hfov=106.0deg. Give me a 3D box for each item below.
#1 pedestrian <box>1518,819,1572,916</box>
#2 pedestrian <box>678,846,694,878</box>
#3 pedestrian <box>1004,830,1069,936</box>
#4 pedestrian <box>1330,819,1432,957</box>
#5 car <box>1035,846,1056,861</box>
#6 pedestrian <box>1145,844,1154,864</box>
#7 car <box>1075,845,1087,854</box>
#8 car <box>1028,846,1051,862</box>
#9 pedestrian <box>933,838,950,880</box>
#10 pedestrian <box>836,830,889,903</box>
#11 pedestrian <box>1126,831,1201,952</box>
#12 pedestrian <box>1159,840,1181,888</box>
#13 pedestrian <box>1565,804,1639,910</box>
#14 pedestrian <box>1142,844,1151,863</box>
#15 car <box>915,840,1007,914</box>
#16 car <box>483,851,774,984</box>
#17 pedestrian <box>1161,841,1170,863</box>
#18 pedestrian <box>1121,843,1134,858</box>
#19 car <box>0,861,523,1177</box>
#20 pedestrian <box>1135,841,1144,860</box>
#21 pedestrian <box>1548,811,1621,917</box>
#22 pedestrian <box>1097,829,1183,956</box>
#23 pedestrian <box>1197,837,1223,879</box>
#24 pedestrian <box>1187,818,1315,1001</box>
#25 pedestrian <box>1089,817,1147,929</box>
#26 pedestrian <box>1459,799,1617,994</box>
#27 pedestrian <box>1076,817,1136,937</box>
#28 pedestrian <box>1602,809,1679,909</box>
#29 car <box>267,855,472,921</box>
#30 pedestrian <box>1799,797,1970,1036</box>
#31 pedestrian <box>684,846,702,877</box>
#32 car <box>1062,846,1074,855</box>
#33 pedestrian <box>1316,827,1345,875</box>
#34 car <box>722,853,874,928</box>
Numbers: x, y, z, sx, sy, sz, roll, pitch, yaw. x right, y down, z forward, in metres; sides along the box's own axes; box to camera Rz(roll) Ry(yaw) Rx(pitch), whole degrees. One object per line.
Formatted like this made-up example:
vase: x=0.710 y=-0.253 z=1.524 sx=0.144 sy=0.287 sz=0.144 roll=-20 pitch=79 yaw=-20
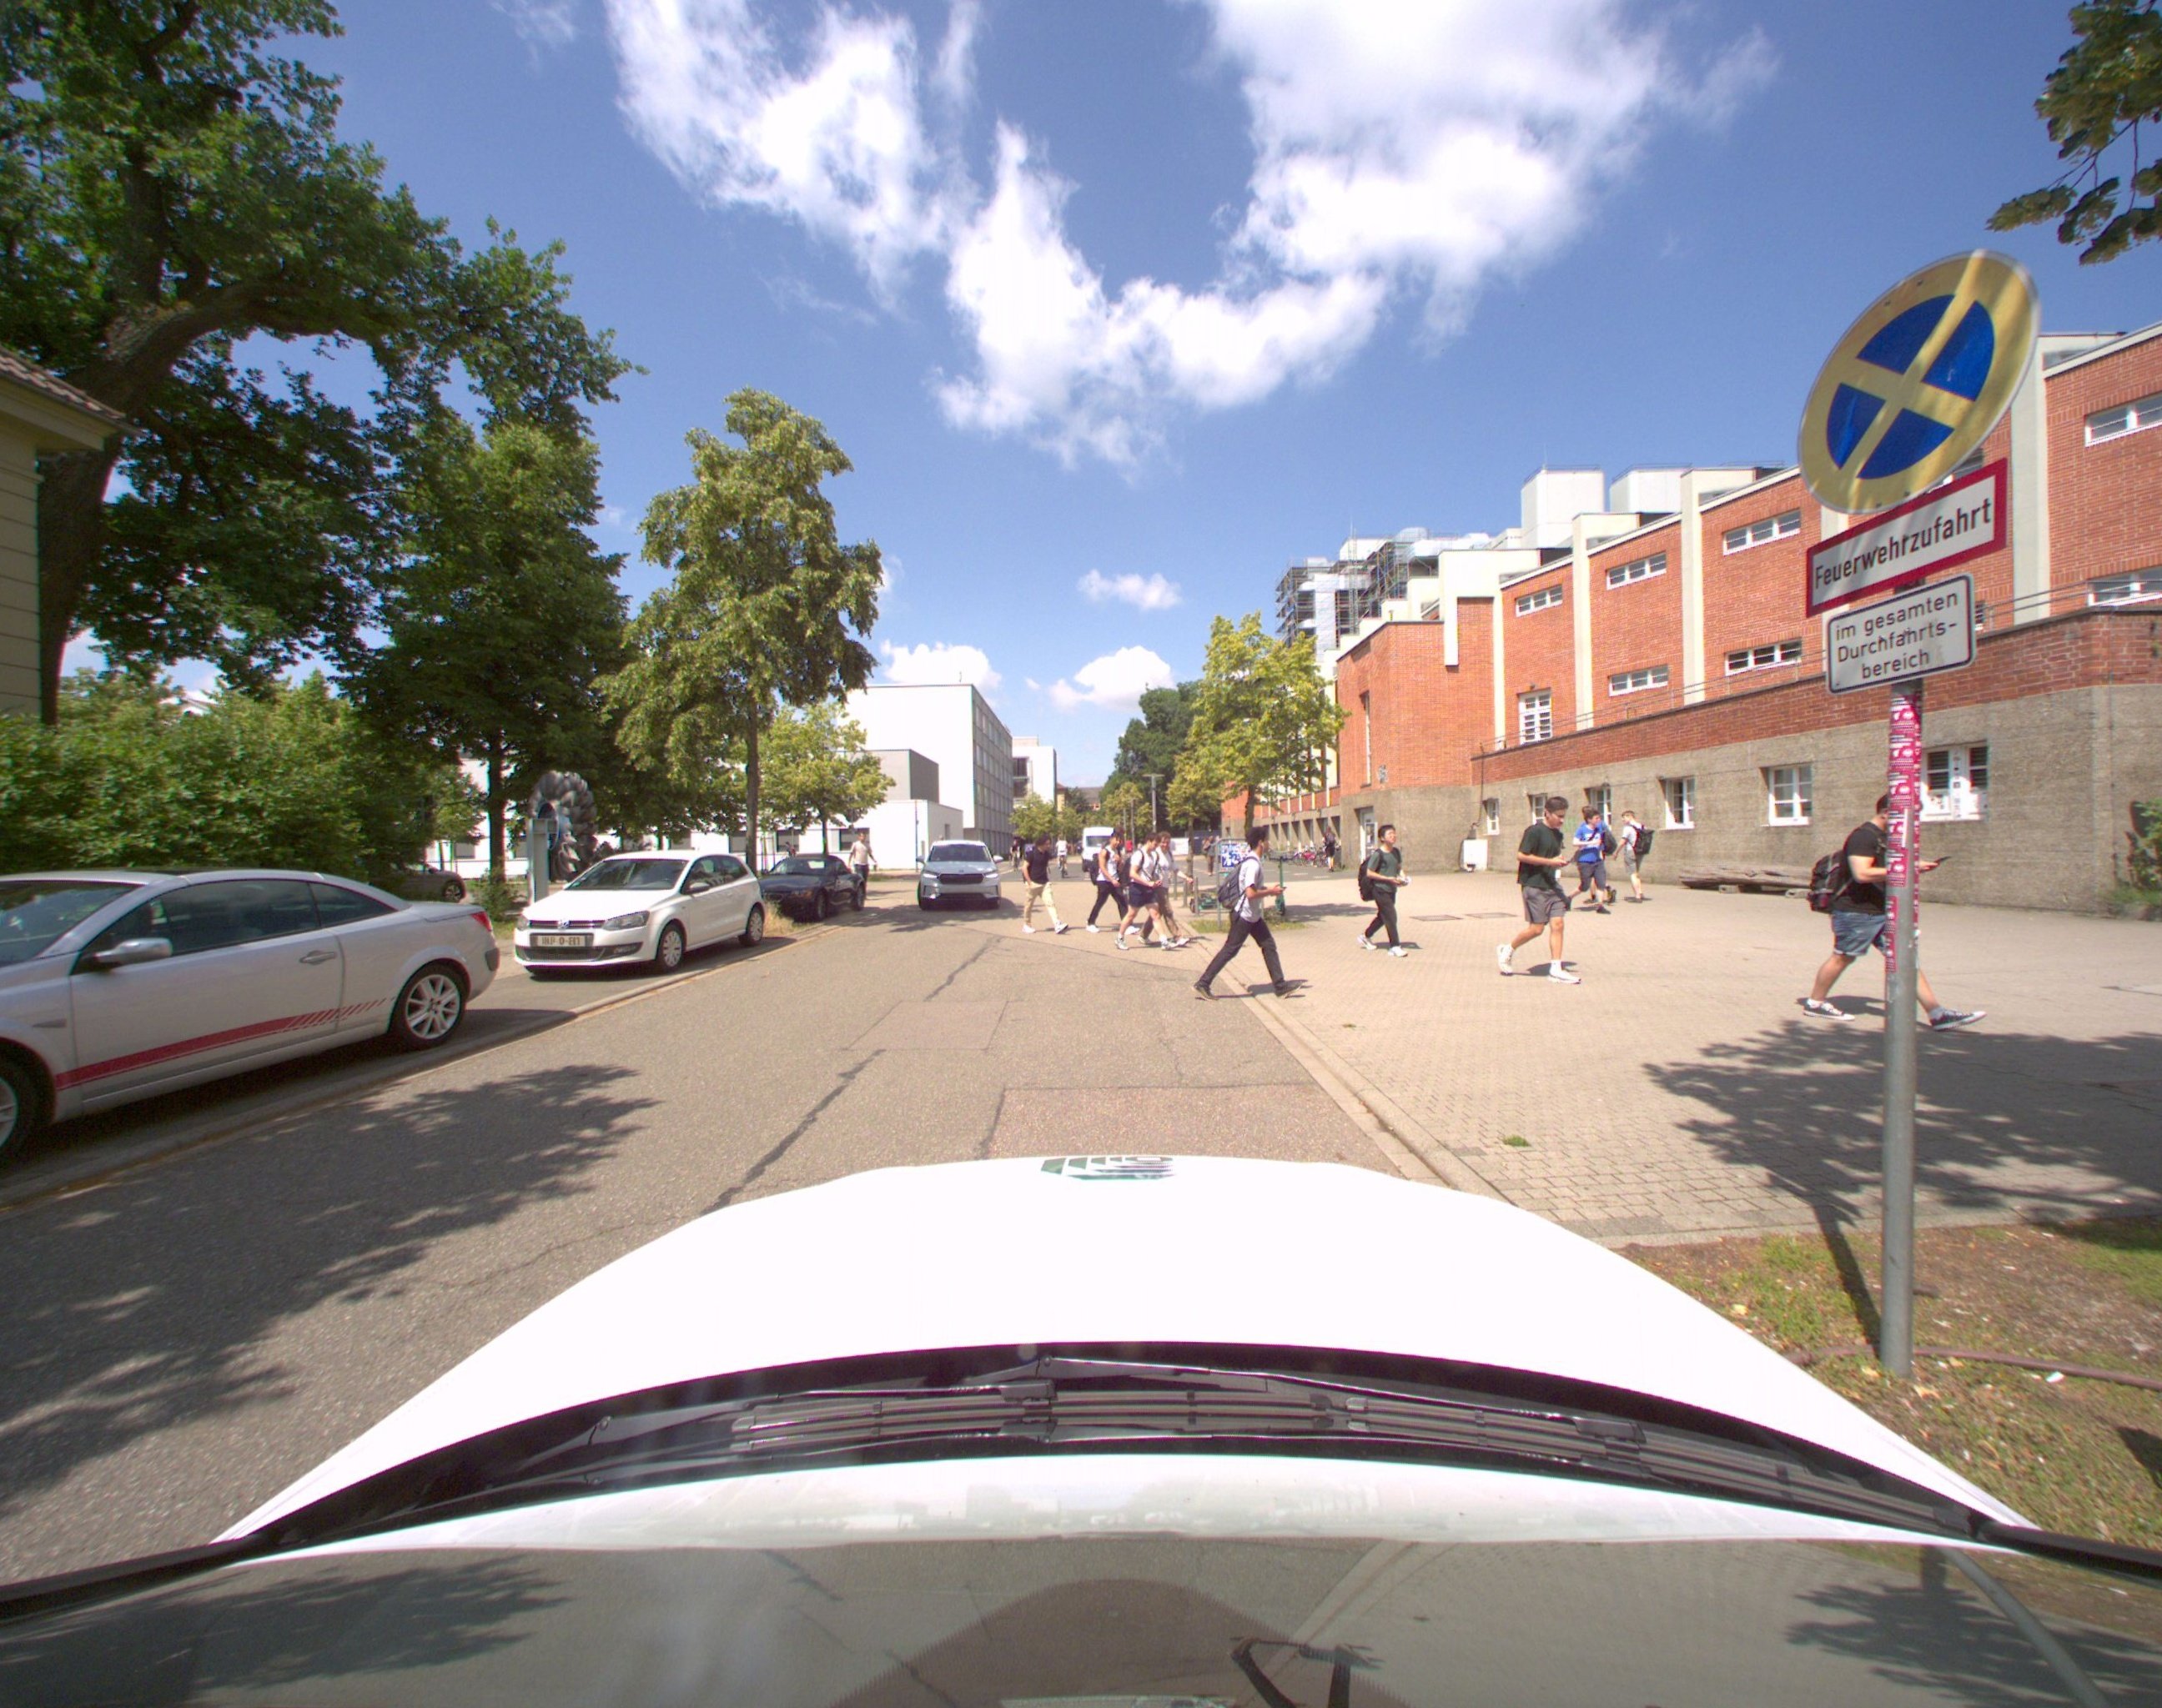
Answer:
pedestrian: x=8.029 y=0.234 z=14.108 sx=0.502 sy=1.630 sz=0.569 roll=-2 pitch=-1 yaw=-12
pedestrian: x=-22.061 y=0.445 z=45.459 sx=0.550 sy=1.764 sz=0.586 roll=-1 pitch=0 yaw=1
pedestrian: x=-0.767 y=0.477 z=14.167 sx=0.794 sy=1.772 sz=0.859 roll=-1 pitch=1 yaw=22
pedestrian: x=3.968 y=0.433 z=10.801 sx=0.708 sy=1.719 sz=0.981 roll=-4 pitch=1 yaw=-44
car: x=-3.880 y=-0.062 z=89.867 sx=1.787 sy=1.530 sz=4.006 roll=-2 pitch=1 yaw=5
pedestrian: x=6.598 y=-0.001 z=78.380 sx=0.787 sy=1.859 sz=1.026 roll=-2 pitch=0 yaw=2
car: x=0.091 y=-0.804 z=148.391 sx=1.787 sy=1.530 sz=4.006 roll=-2 pitch=1 yaw=5
car: x=-4.162 y=-0.009 z=82.453 sx=1.787 sy=1.530 sz=4.006 roll=-2 pitch=1 yaw=5
pedestrian: x=-6.068 y=0.205 z=35.309 sx=0.667 sy=1.785 sz=0.981 roll=-1 pitch=-1 yaw=-12
pedestrian: x=-5.923 y=0.329 z=22.023 sx=1.022 sy=1.903 sz=1.166 roll=-1 pitch=0 yaw=-36
pedestrian: x=1.256 y=0.541 z=12.336 sx=0.897 sy=1.739 sz=0.683 roll=0 pitch=0 yaw=39
pedestrian: x=3.191 y=0.362 z=29.369 sx=0.700 sy=1.694 sz=0.962 roll=-1 pitch=1 yaw=1
pedestrian: x=9.795 y=0.041 z=15.341 sx=0.699 sy=1.891 sz=0.993 roll=-3 pitch=1 yaw=-1
pedestrian: x=6.570 y=-0.070 z=81.407 sx=0.787 sy=1.859 sz=1.026 roll=-2 pitch=0 yaw=2
car: x=-2.875 y=0.523 z=20.413 sx=1.914 sy=1.619 sz=4.513 roll=2 pitch=0 yaw=-4
car: x=-5.604 y=0.678 z=10.707 sx=1.656 sy=1.411 sz=3.807 roll=0 pitch=1 yaw=1
pedestrian: x=7.106 y=-0.155 z=68.581 sx=0.574 sy=1.859 sz=0.569 roll=-2 pitch=0 yaw=-2
pedestrian: x=6.396 y=-0.465 z=111.623 sx=1.495 sy=1.996 sz=1.646 roll=-4 pitch=1 yaw=-1
car: x=-5.669 y=0.760 z=4.829 sx=1.718 sy=1.343 sz=4.168 roll=1 pitch=1 yaw=2
pedestrian: x=5.624 y=-0.348 z=78.632 sx=0.787 sy=1.859 sz=1.244 roll=-2 pitch=0 yaw=2
pedestrian: x=8.772 y=0.169 z=14.204 sx=0.708 sy=1.788 sz=0.749 roll=-2 pitch=-1 yaw=-12
pedestrian: x=0.848 y=0.528 z=11.808 sx=0.971 sy=1.739 sz=0.705 roll=-1 pitch=1 yaw=39
pedestrian: x=5.476 y=0.157 z=34.664 sx=0.850 sy=1.732 sz=1.160 roll=-2 pitch=0 yaw=0
pedestrian: x=1.655 y=0.529 z=8.089 sx=1.101 sy=1.716 sz=0.710 roll=-1 pitch=0 yaw=1
pedestrian: x=0.681 y=0.338 z=14.841 sx=0.819 sy=1.980 sz=0.695 roll=-1 pitch=1 yaw=22
pedestrian: x=4.716 y=0.399 z=8.452 sx=0.856 sy=1.859 sz=1.107 roll=-2 pitch=0 yaw=-26
pedestrian: x=0.420 y=0.390 z=14.003 sx=0.620 sy=1.980 sz=0.820 roll=-2 pitch=-1 yaw=-31
pedestrian: x=10.580 y=0.081 z=15.430 sx=0.699 sy=1.803 sz=0.993 roll=-4 pitch=1 yaw=-1
car: x=-20.488 y=0.901 z=23.785 sx=1.921 sy=1.516 sz=4.442 roll=-4 pitch=1 yaw=0
pedestrian: x=5.917 y=0.403 z=6.000 sx=0.855 sy=1.595 sz=0.820 roll=-3 pitch=1 yaw=-42
pedestrian: x=-22.041 y=0.422 z=46.249 sx=0.690 sy=1.749 sz=0.636 roll=-1 pitch=0 yaw=1
car: x=-2.333 y=-0.615 z=148.601 sx=1.787 sy=1.530 sz=4.006 roll=-2 pitch=1 yaw=5
pedestrian: x=9.953 y=-0.135 z=32.556 sx=0.787 sy=1.859 sz=1.116 roll=-2 pitch=0 yaw=0
car: x=-5.753 y=0.685 z=17.072 sx=1.639 sy=1.300 sz=3.930 roll=-2 pitch=1 yaw=2
